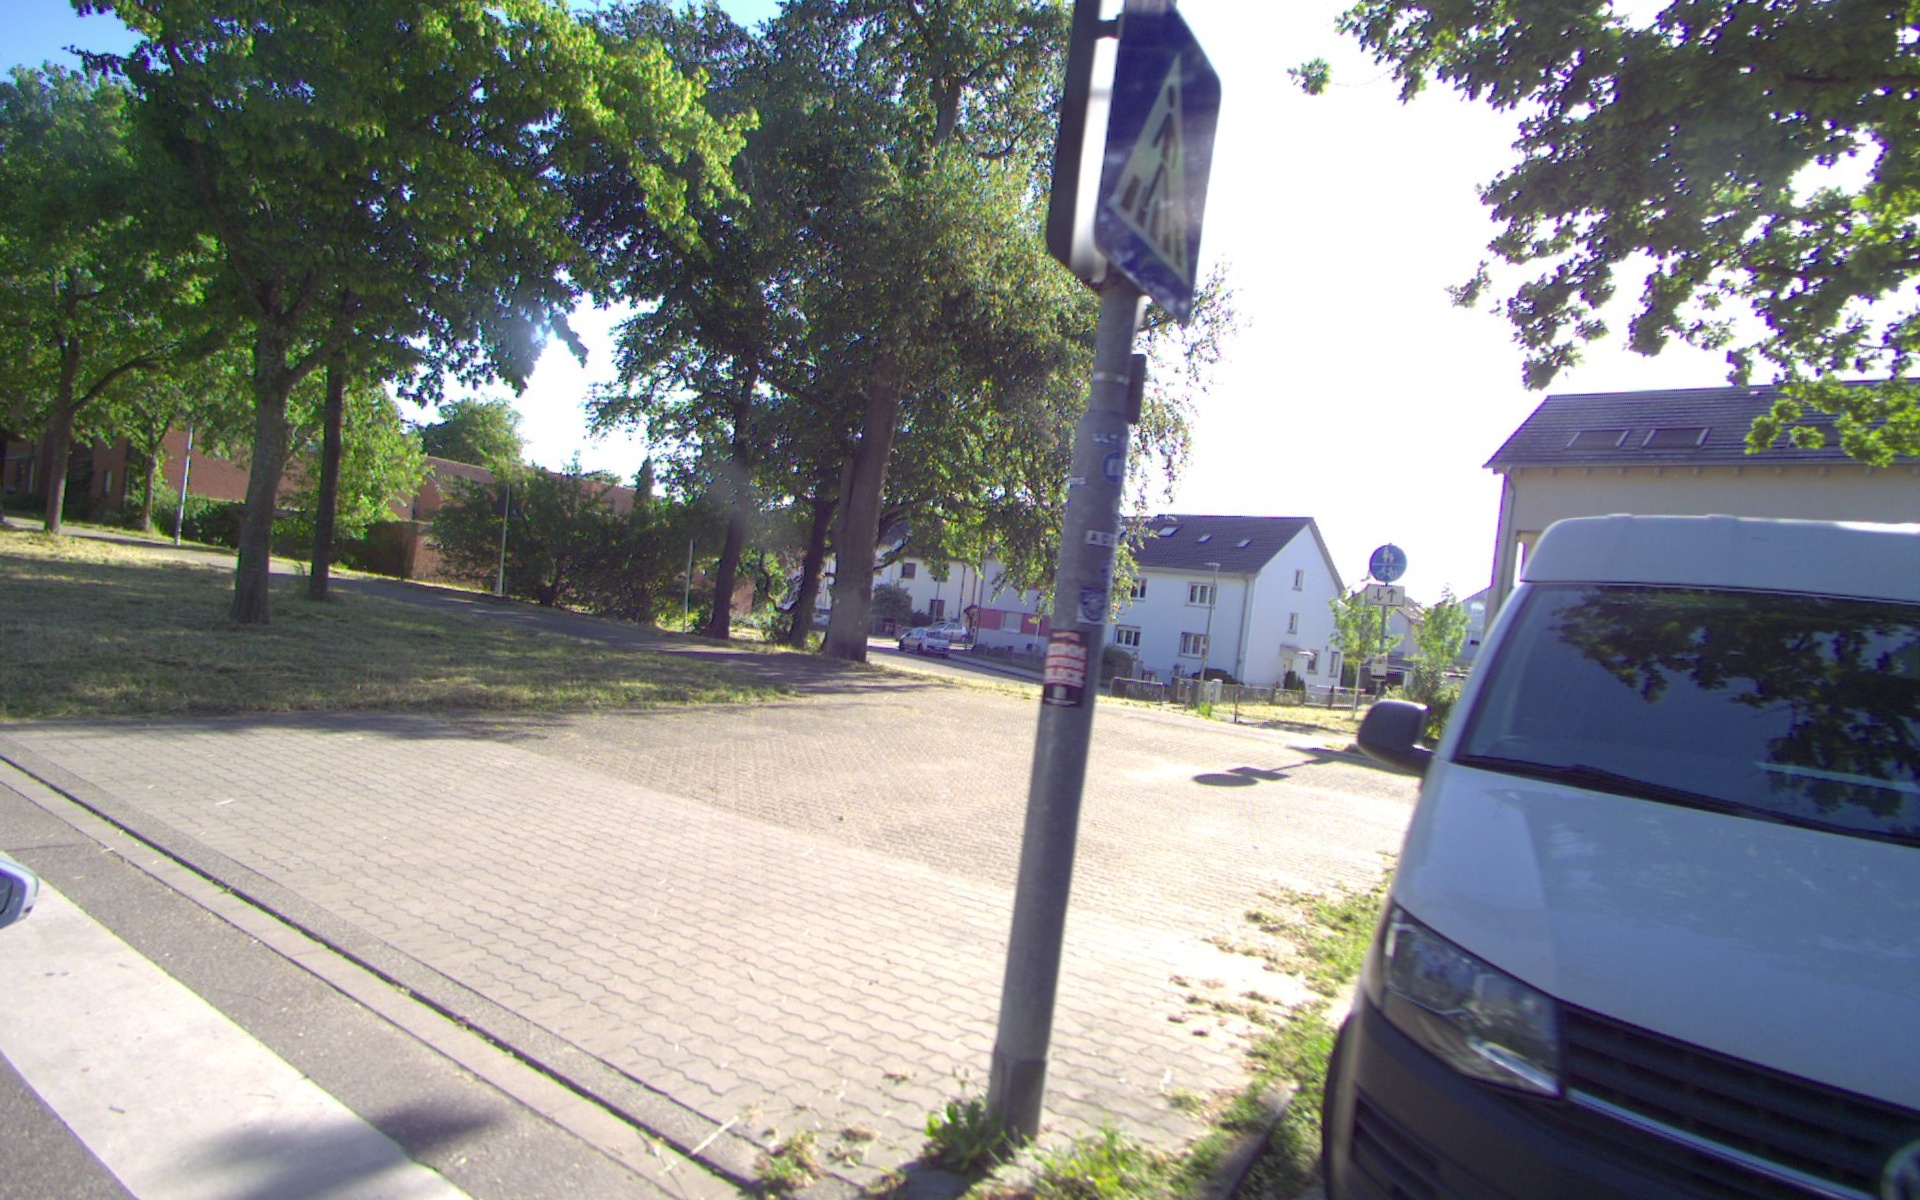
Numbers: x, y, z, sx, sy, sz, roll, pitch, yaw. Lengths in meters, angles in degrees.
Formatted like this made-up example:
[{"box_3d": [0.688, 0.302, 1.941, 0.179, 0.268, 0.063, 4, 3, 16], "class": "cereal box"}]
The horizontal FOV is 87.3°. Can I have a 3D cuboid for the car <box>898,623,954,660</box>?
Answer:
[{"box_3d": [-1.871, 2.214, 54.540, 1.715, 1.574, 3.447, 8, -1, -25], "class": "car"}]

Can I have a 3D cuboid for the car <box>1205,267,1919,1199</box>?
[{"box_3d": [2.682, 0.801, 3.530, 2.047, 2.131, 5.194, 7, 0, 30], "class": "car"}]

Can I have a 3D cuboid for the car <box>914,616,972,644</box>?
[{"box_3d": [-1.259, 2.257, 75.468, 3.976, 1.592, 1.976, 9, -2, -43], "class": "car"}]

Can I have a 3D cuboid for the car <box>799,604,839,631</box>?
[{"box_3d": [-10.022, 1.226, 71.351, 1.715, 1.574, 3.447, 8, -1, -25], "class": "car"}]

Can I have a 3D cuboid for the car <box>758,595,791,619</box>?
[{"box_3d": [-15.083, 0.541, 81.754, 1.715, 1.574, 3.447, 8, -1, -25], "class": "car"}]
